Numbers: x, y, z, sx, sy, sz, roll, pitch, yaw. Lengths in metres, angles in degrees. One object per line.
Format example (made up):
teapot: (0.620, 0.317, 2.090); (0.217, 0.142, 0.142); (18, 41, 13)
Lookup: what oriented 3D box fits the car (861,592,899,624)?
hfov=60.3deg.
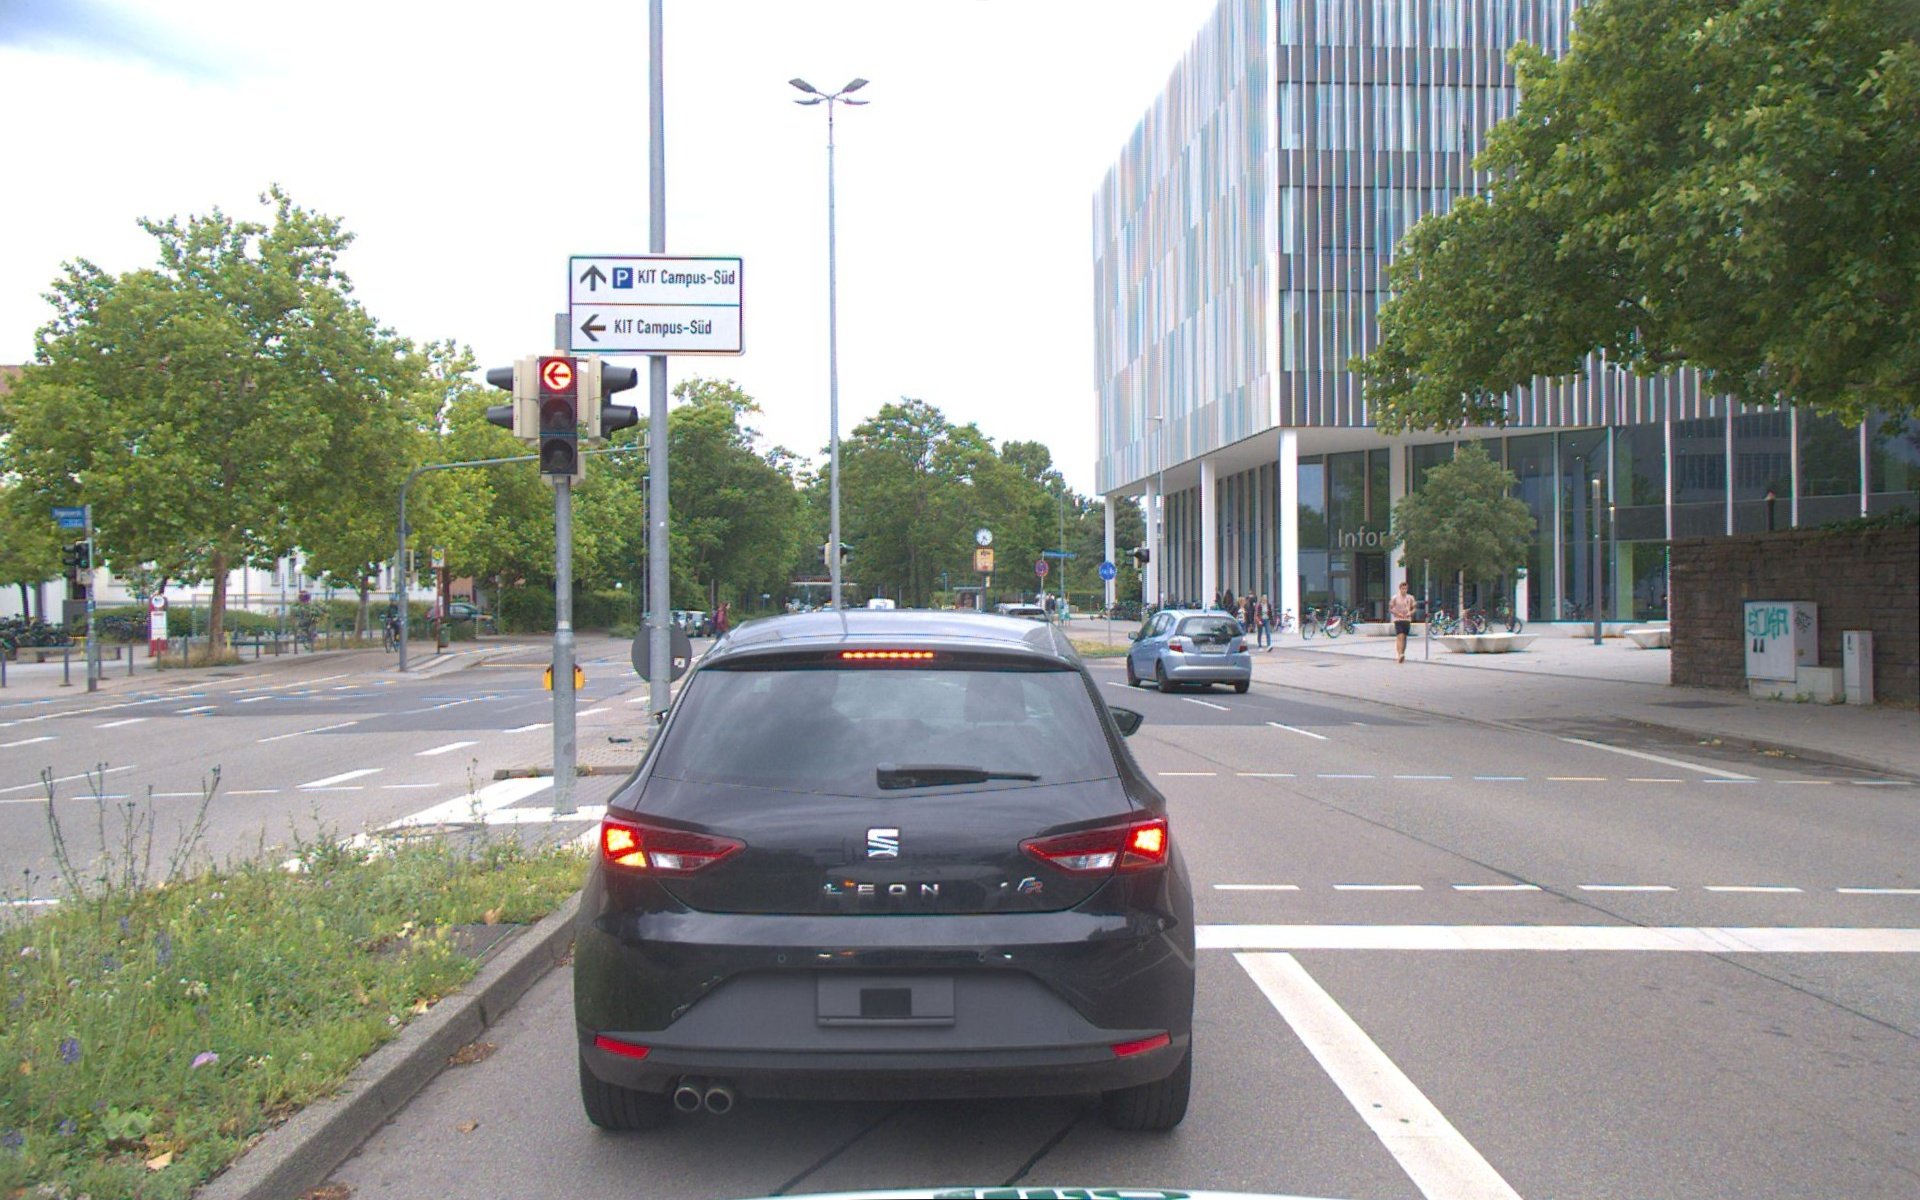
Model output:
car: (-5.288, 0.519, 108.674); (1.930, 2.007, 4.333); (1, 0, -10)

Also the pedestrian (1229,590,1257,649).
pedestrian: (8.131, 0.552, 47.573); (0.673, 1.668, 0.632); (1, 0, -1)

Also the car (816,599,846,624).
car: (-7.962, 0.708, 101.994); (1.689, 1.439, 4.240); (1, 1, -6)

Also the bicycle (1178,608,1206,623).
bicycle: (11.831, 0.798, 84.357); (1.346, 0.717, 0.416); (-2, 0, 2)

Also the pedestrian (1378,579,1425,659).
pedestrian: (10.221, 0.438, 38.309); (0.830, 1.795, 0.767); (-2, 0, -1)

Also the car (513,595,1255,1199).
car: (-0.129, 0.726, 5.741); (1.717, 1.457, 3.770); (1, 0, 1)

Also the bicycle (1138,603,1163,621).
bicycle: (10.595, 0.668, 92.002); (1.357, 0.958, 0.488); (-1, 0, 6)

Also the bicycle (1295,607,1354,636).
bicycle: (12.419, 0.730, 56.369); (1.860, 0.914, 0.693); (-2, 0, -22)

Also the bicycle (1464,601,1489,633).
bicycle: (18.708, 0.611, 59.872); (0.792, 1.074, 1.950); (-2, 1, 19)

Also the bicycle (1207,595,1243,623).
bicycle: (12.477, 0.418, 77.907); (1.758, 1.232, 0.563); (-2, 0, -35)

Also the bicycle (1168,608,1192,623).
bicycle: (11.580, 0.799, 87.042); (1.213, 0.717, 0.489); (-2, 0, 8)

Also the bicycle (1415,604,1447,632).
bicycle: (17.506, 0.668, 61.422); (0.682, 0.963, 1.981); (-2, 1, 29)

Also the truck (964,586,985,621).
truck: (0.970, 0.208, 112.651); (1.291, 2.282, 3.401); (-2, 0, -1)

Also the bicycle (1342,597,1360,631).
bicycle: (15.286, 0.531, 64.610); (0.515, 1.275, 1.667); (-2, 0, 17)

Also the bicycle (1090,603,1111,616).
bicycle: (9.258, 0.623, 108.975); (1.241, 0.863, 0.479); (2, -1, -23)

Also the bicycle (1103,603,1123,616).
bicycle: (9.914, 0.607, 106.997); (1.218, 0.837, 0.479); (2, -1, -23)

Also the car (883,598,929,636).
car: (-2.373, 0.776, 73.651); (1.787, 1.578, 4.527); (1, -1, 1)

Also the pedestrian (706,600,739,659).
pedestrian: (-6.668, 0.825, 46.436); (0.858, 1.614, 0.542); (-2, 0, -8)

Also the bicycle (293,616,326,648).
bicycle: (-23.247, 1.135, 59.129); (0.596, 1.079, 2.041); (-2, 0, -7)

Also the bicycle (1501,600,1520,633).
bicycle: (19.614, 0.577, 58.961); (0.609, 1.074, 1.950); (-2, 1, 19)

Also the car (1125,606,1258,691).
car: (4.306, 0.865, 31.215); (1.635, 1.492, 3.654); (0, 0, -7)

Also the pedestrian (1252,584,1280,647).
pedestrian: (8.814, 0.437, 47.611); (0.673, 1.812, 0.677); (0, 0, -1)

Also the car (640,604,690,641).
car: (-15.334, 1.138, 86.034); (1.868, 1.747, 3.999); (-2, 1, -1)

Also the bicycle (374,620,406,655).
bicycle: (-18.164, 1.184, 52.704); (0.478, 1.023, 1.589); (1, 1, -1)

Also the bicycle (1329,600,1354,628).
bicycle: (15.537, 0.561, 67.407); (0.607, 1.064, 1.704); (-2, 1, 25)

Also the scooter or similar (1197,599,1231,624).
scooter or similar: (12.068, 0.547, 78.479); (1.655, 1.126, 0.493); (-2, 0, -33)

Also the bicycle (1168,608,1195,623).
bicycle: (11.545, 0.817, 86.150); (1.345, 0.717, 0.489); (-2, 0, 8)

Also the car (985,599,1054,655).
car: (1.846, 0.818, 52.507); (1.869, 1.653, 4.489); (1, 0, -2)

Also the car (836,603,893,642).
car: (-3.834, 0.885, 65.942); (1.749, 1.488, 3.860); (0, 0, -11)

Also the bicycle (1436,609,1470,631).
bicycle: (18.150, 0.746, 60.865); (1.515, 0.728, 0.511); (-3, 1, -44)

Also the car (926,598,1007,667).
car: (0.106, 0.781, 41.981); (1.845, 1.628, 4.445); (1, 0, -2)

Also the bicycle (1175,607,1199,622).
bicycle: (12.043, 0.764, 87.731); (1.246, 0.717, 0.485); (-2, 0, 6)

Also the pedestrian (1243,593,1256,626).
pedestrian: (12.049, 0.393, 68.888); (0.462, 1.385, 0.446); (-2, 0, 9)

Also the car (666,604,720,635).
car: (-15.455, 1.109, 96.050); (1.721, 1.615, 4.004); (-2, 1, 12)

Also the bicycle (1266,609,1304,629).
bicycle: (13.715, 0.799, 69.869); (1.450, 0.761, 0.565); (-2, 0, -4)

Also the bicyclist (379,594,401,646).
bicyclist: (-18.156, 0.635, 52.689); (0.481, 1.653, 0.588); (1, 1, -1)
